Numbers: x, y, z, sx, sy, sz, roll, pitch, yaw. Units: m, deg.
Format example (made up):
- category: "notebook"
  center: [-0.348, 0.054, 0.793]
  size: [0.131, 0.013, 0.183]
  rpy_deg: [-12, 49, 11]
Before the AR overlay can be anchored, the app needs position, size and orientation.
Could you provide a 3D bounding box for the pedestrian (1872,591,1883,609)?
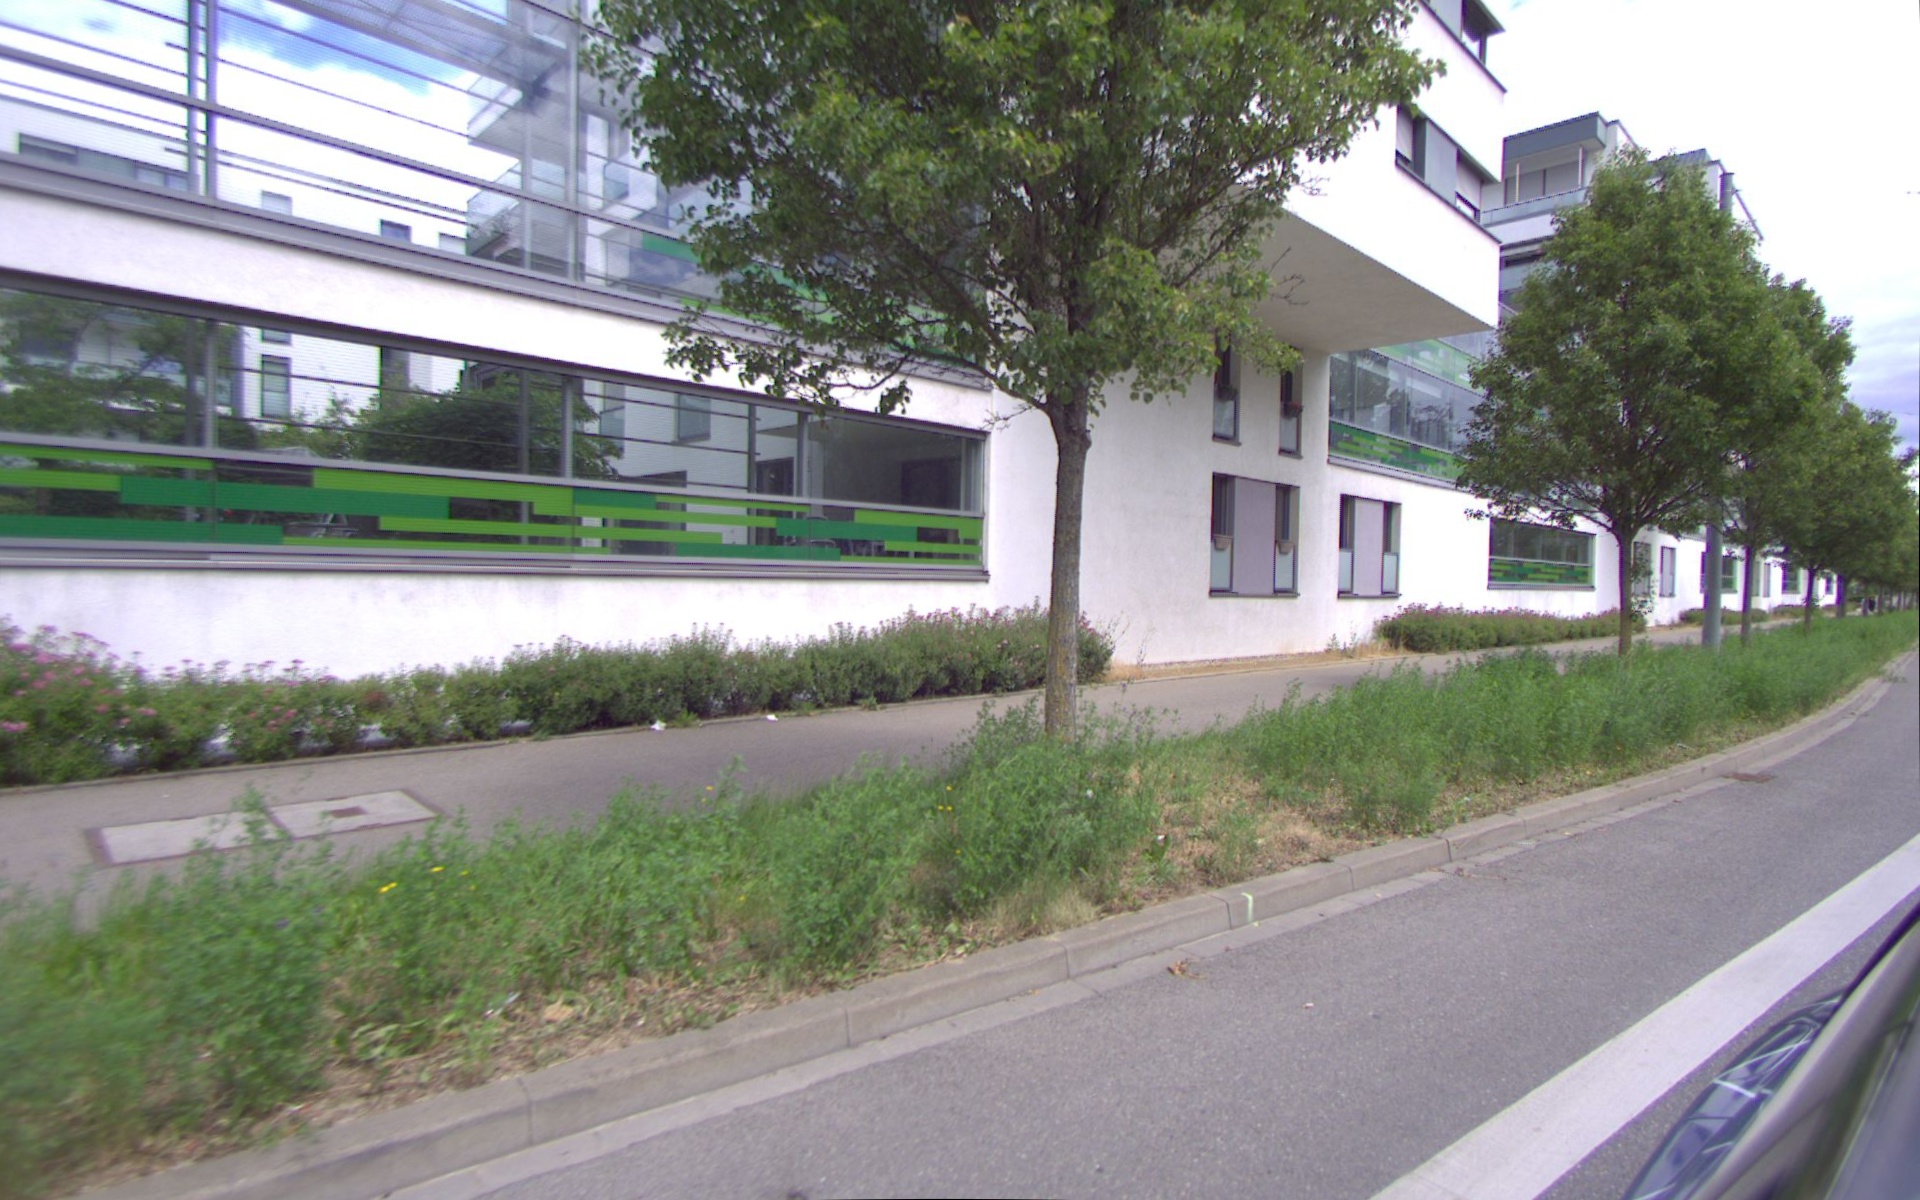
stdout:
- category: "pedestrian"
  center: [91.776, -0.006, 101.275]
  size: [0.612, 1.864, 0.585]
  rpy_deg: [-1, 0, 19]
